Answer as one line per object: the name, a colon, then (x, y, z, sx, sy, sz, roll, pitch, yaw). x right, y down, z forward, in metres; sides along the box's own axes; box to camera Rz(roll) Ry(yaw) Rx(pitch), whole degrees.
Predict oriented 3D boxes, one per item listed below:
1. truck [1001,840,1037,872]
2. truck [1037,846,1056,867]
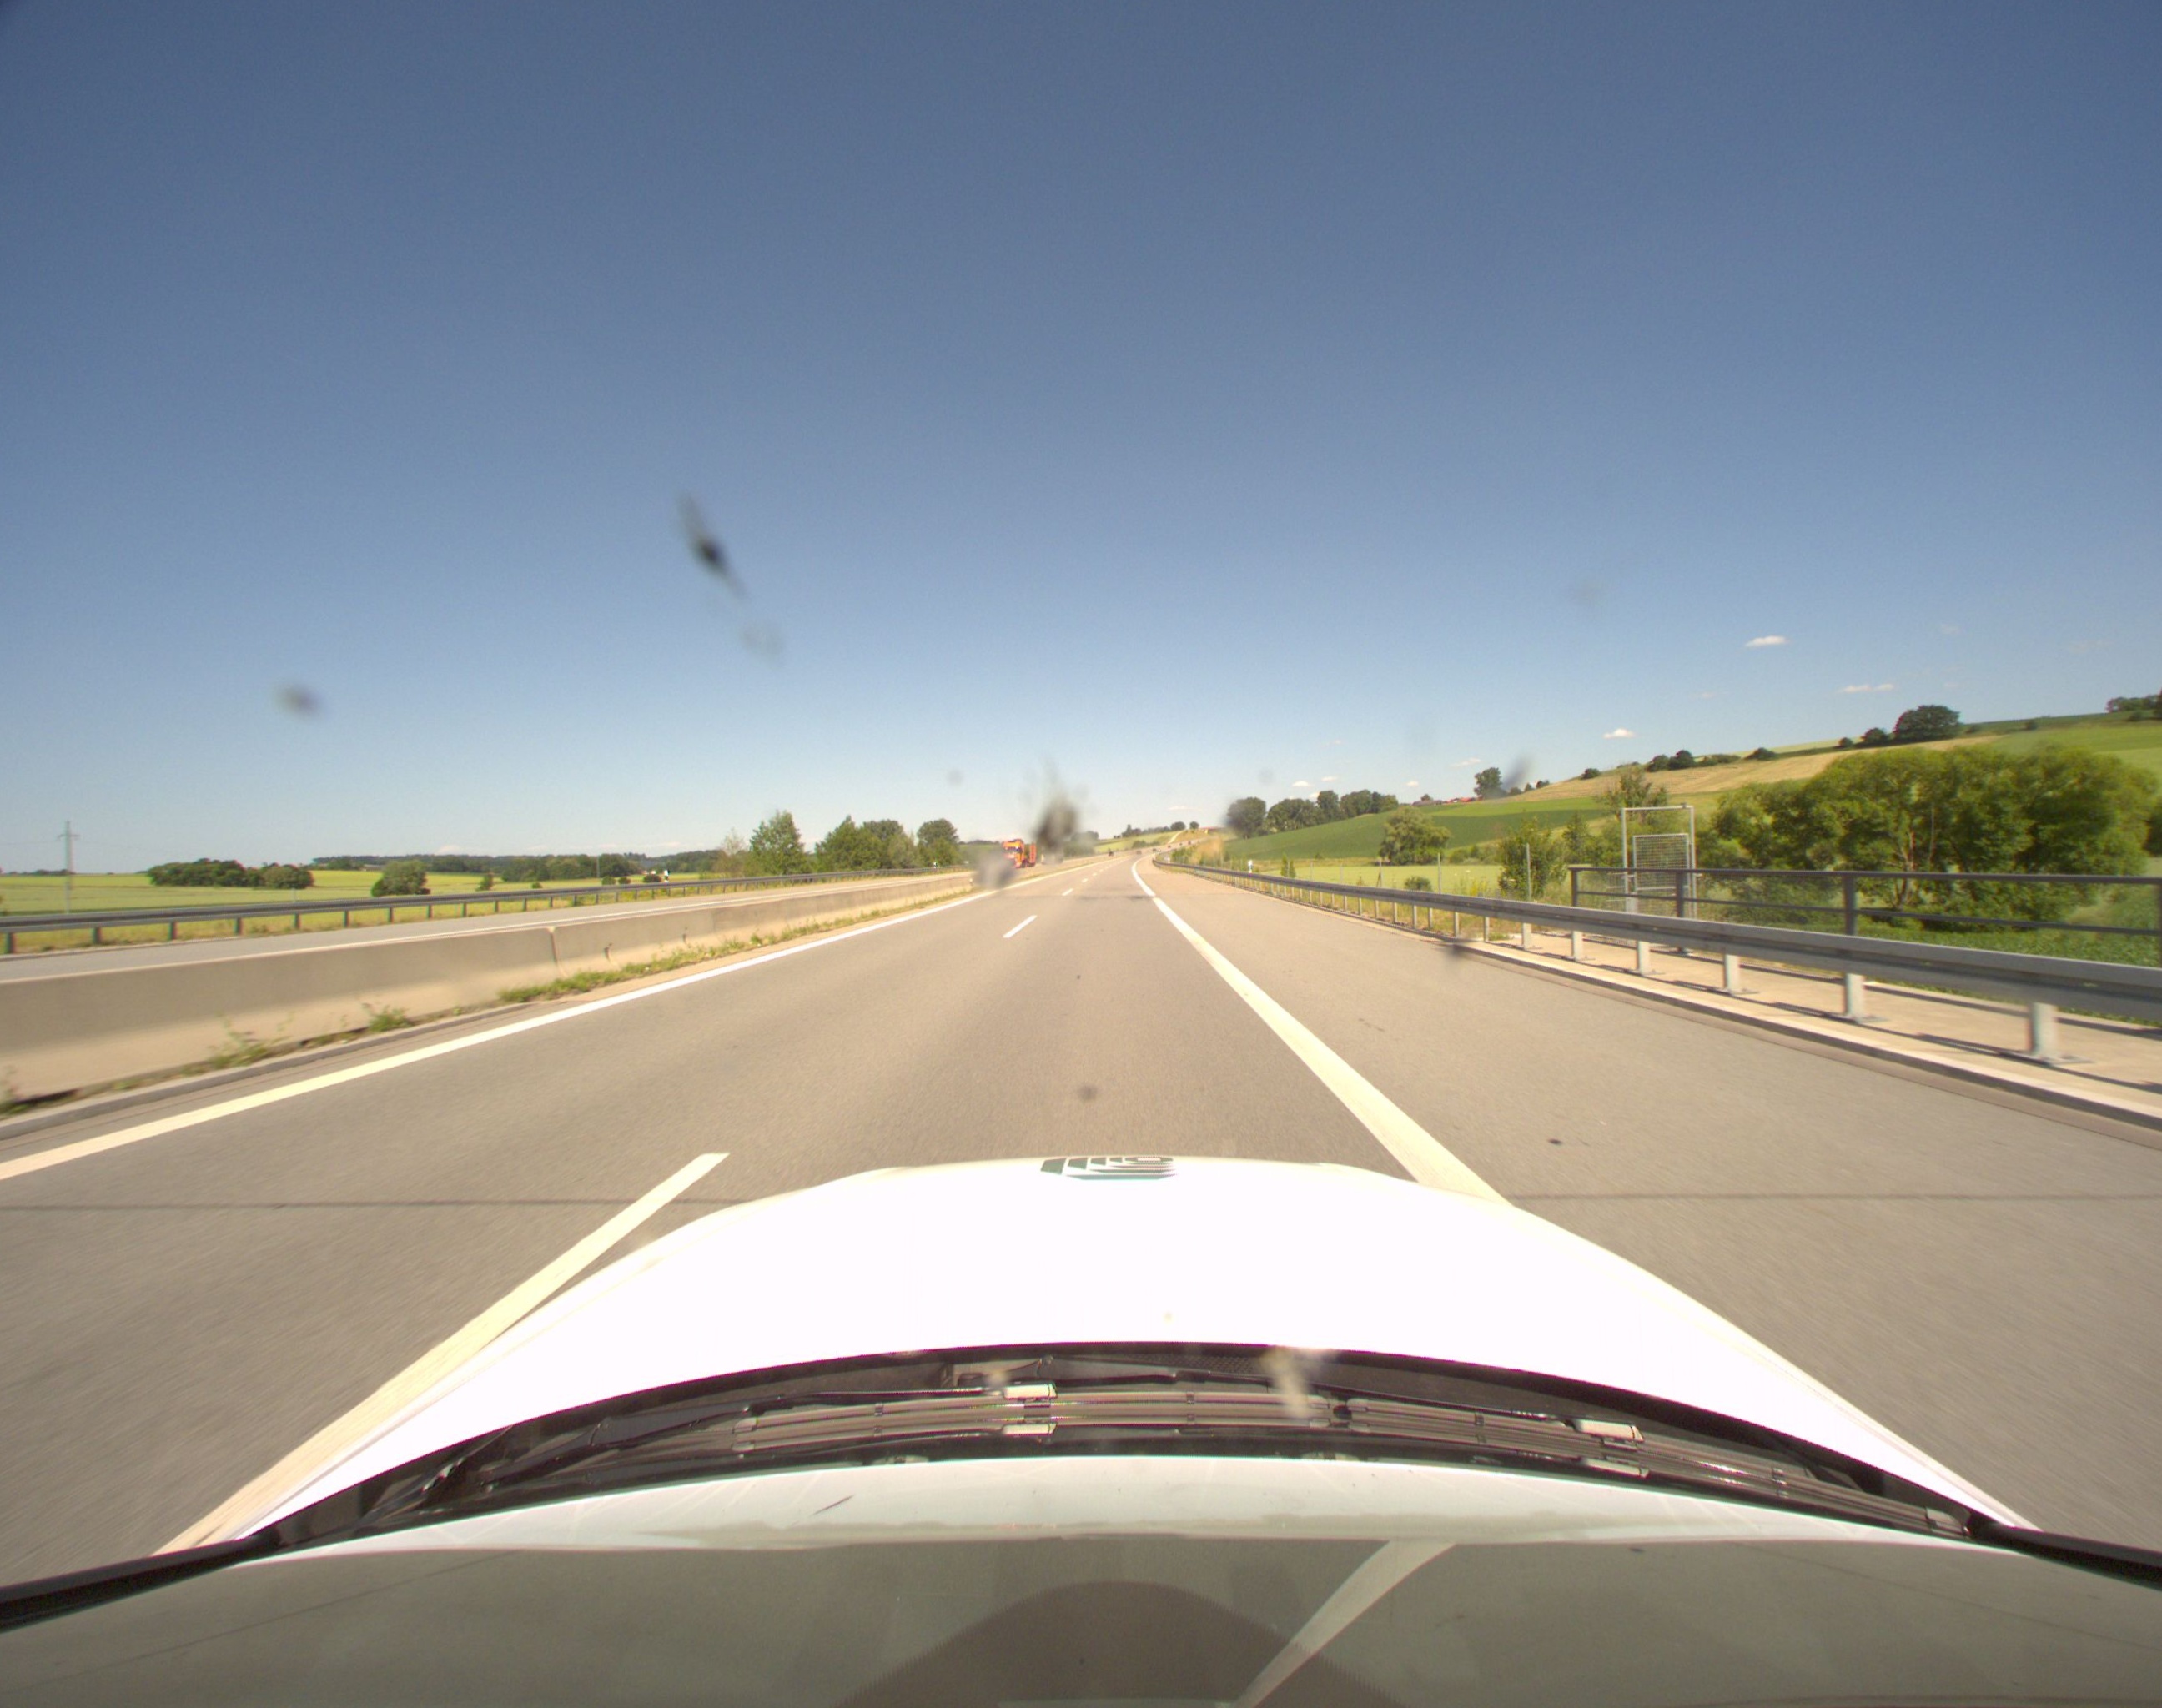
truck: (-8.617, 0.306, 115.313, 2.856, 4.015, 17.128, -1, 0, 3)
truck: (-6.526, 0.429, 155.755, 2.848, 3.873, 5.989, -2, 0, 4)
